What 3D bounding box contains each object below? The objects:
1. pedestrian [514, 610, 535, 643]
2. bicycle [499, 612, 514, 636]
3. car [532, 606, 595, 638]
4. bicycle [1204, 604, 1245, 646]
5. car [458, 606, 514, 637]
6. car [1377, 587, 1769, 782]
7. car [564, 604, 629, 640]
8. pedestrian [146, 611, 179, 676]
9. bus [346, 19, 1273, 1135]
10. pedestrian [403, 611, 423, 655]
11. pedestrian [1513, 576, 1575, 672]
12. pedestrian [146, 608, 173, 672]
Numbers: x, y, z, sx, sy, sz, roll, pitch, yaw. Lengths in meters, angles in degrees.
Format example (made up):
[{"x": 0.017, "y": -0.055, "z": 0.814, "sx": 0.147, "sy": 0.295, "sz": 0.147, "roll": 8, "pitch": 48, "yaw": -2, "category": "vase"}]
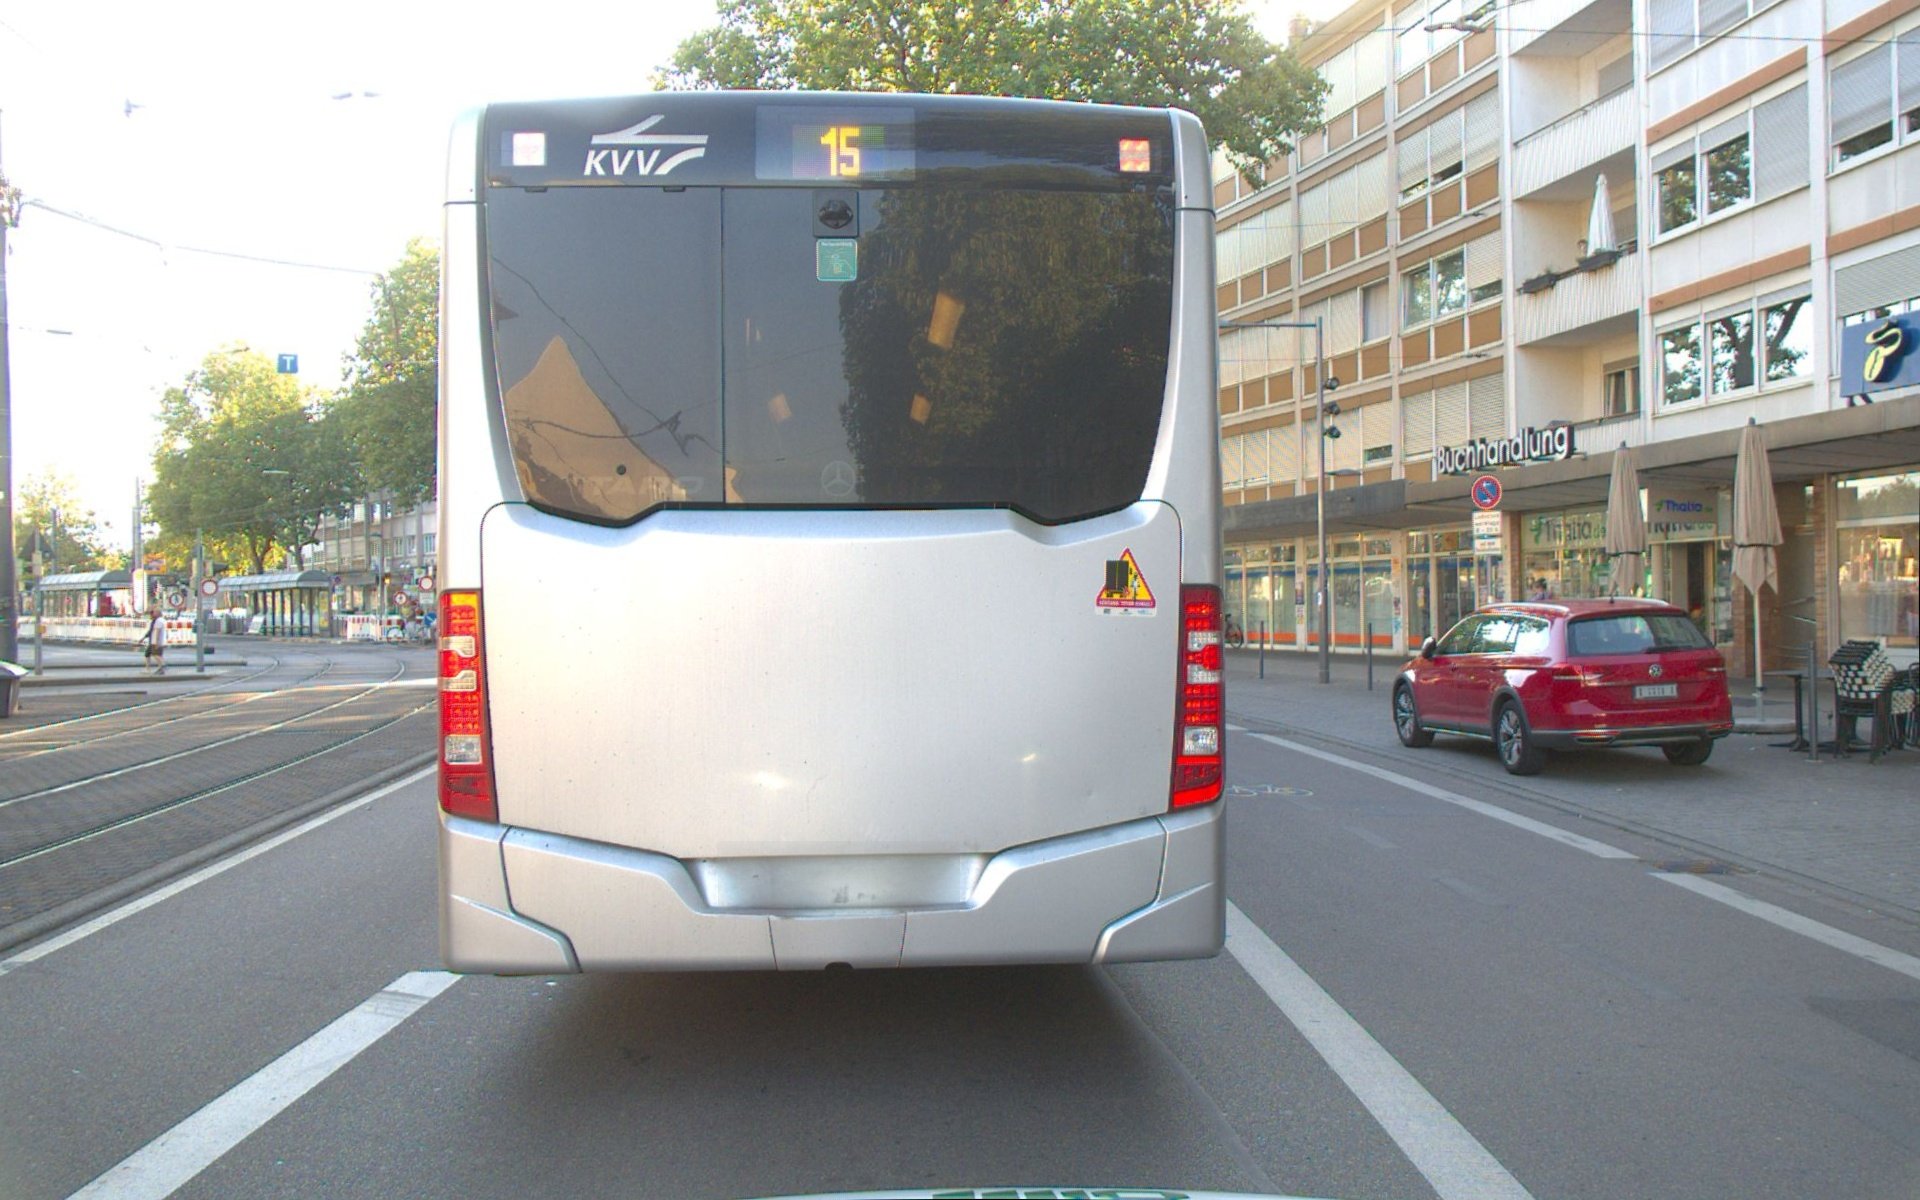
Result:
[{"x": -17.699, "y": 1.090, "z": 67.261, "sx": 0.766, "sy": 1.326, "sz": 0.590, "roll": -1, "pitch": 0, "yaw": -22, "category": "pedestrian"}, {"x": -23.175, "y": 1.218, "z": 84.549, "sx": 0.500, "sy": 1.232, "sz": 2.079, "roll": -1, "pitch": 0, "yaw": -21, "category": "bicycle"}, {"x": -19.343, "y": 1.077, "z": 80.650, "sx": 1.652, "sy": 1.419, "sz": 3.364, "roll": -5, "pitch": 3, "yaw": -39, "category": "car"}, {"x": 7.271, "y": 0.689, "z": 45.535, "sx": 0.431, "sy": 1.111, "sz": 1.453, "roll": -3, "pitch": 1, "yaw": -20, "category": "bicycle"}, {"x": -25.118, "y": 1.101, "z": 87.620, "sx": 1.651, "sy": 1.494, "sz": 3.365, "roll": -5, "pitch": 3, "yaw": -38, "category": "car"}, {"x": 5.684, "y": 0.704, "z": 16.042, "sx": 1.744, "sy": 1.522, "sz": 4.563, "roll": -3, "pitch": 0, "yaw": -5, "category": "car"}, {"x": -17.018, "y": 1.016, "z": 77.369, "sx": 1.650, "sy": 1.542, "sz": 3.367, "roll": -5, "pitch": 3, "yaw": -37, "category": "car"}, {"x": -19.090, "y": 1.029, "z": 39.585, "sx": 0.510, "sy": 1.530, "sz": 0.593, "roll": -1, "pitch": 0, "yaw": -4, "category": "pedestrian"}, {"x": -0.642, "y": -0.057, "z": 9.842, "sx": 2.605, "sy": 3.153, "sz": 10.210, "roll": -1, "pitch": 0, "yaw": -3, "category": "bus"}, {"x": -22.068, "y": 1.332, "z": 66.741, "sx": 0.708, "sy": 1.755, "sz": 0.397, "roll": -1, "pitch": 0, "yaw": -16, "category": "pedestrian"}, {"x": 9.841, "y": 0.397, "z": 27.882, "sx": 0.629, "sy": 1.579, "sz": 0.804, "roll": -1, "pitch": 0, "yaw": -15, "category": "pedestrian"}, {"x": -19.398, "y": 0.970, "z": 40.106, "sx": 0.400, "sy": 1.530, "sz": 0.517, "roll": -1, "pitch": 0, "yaw": -3, "category": "pedestrian"}]
